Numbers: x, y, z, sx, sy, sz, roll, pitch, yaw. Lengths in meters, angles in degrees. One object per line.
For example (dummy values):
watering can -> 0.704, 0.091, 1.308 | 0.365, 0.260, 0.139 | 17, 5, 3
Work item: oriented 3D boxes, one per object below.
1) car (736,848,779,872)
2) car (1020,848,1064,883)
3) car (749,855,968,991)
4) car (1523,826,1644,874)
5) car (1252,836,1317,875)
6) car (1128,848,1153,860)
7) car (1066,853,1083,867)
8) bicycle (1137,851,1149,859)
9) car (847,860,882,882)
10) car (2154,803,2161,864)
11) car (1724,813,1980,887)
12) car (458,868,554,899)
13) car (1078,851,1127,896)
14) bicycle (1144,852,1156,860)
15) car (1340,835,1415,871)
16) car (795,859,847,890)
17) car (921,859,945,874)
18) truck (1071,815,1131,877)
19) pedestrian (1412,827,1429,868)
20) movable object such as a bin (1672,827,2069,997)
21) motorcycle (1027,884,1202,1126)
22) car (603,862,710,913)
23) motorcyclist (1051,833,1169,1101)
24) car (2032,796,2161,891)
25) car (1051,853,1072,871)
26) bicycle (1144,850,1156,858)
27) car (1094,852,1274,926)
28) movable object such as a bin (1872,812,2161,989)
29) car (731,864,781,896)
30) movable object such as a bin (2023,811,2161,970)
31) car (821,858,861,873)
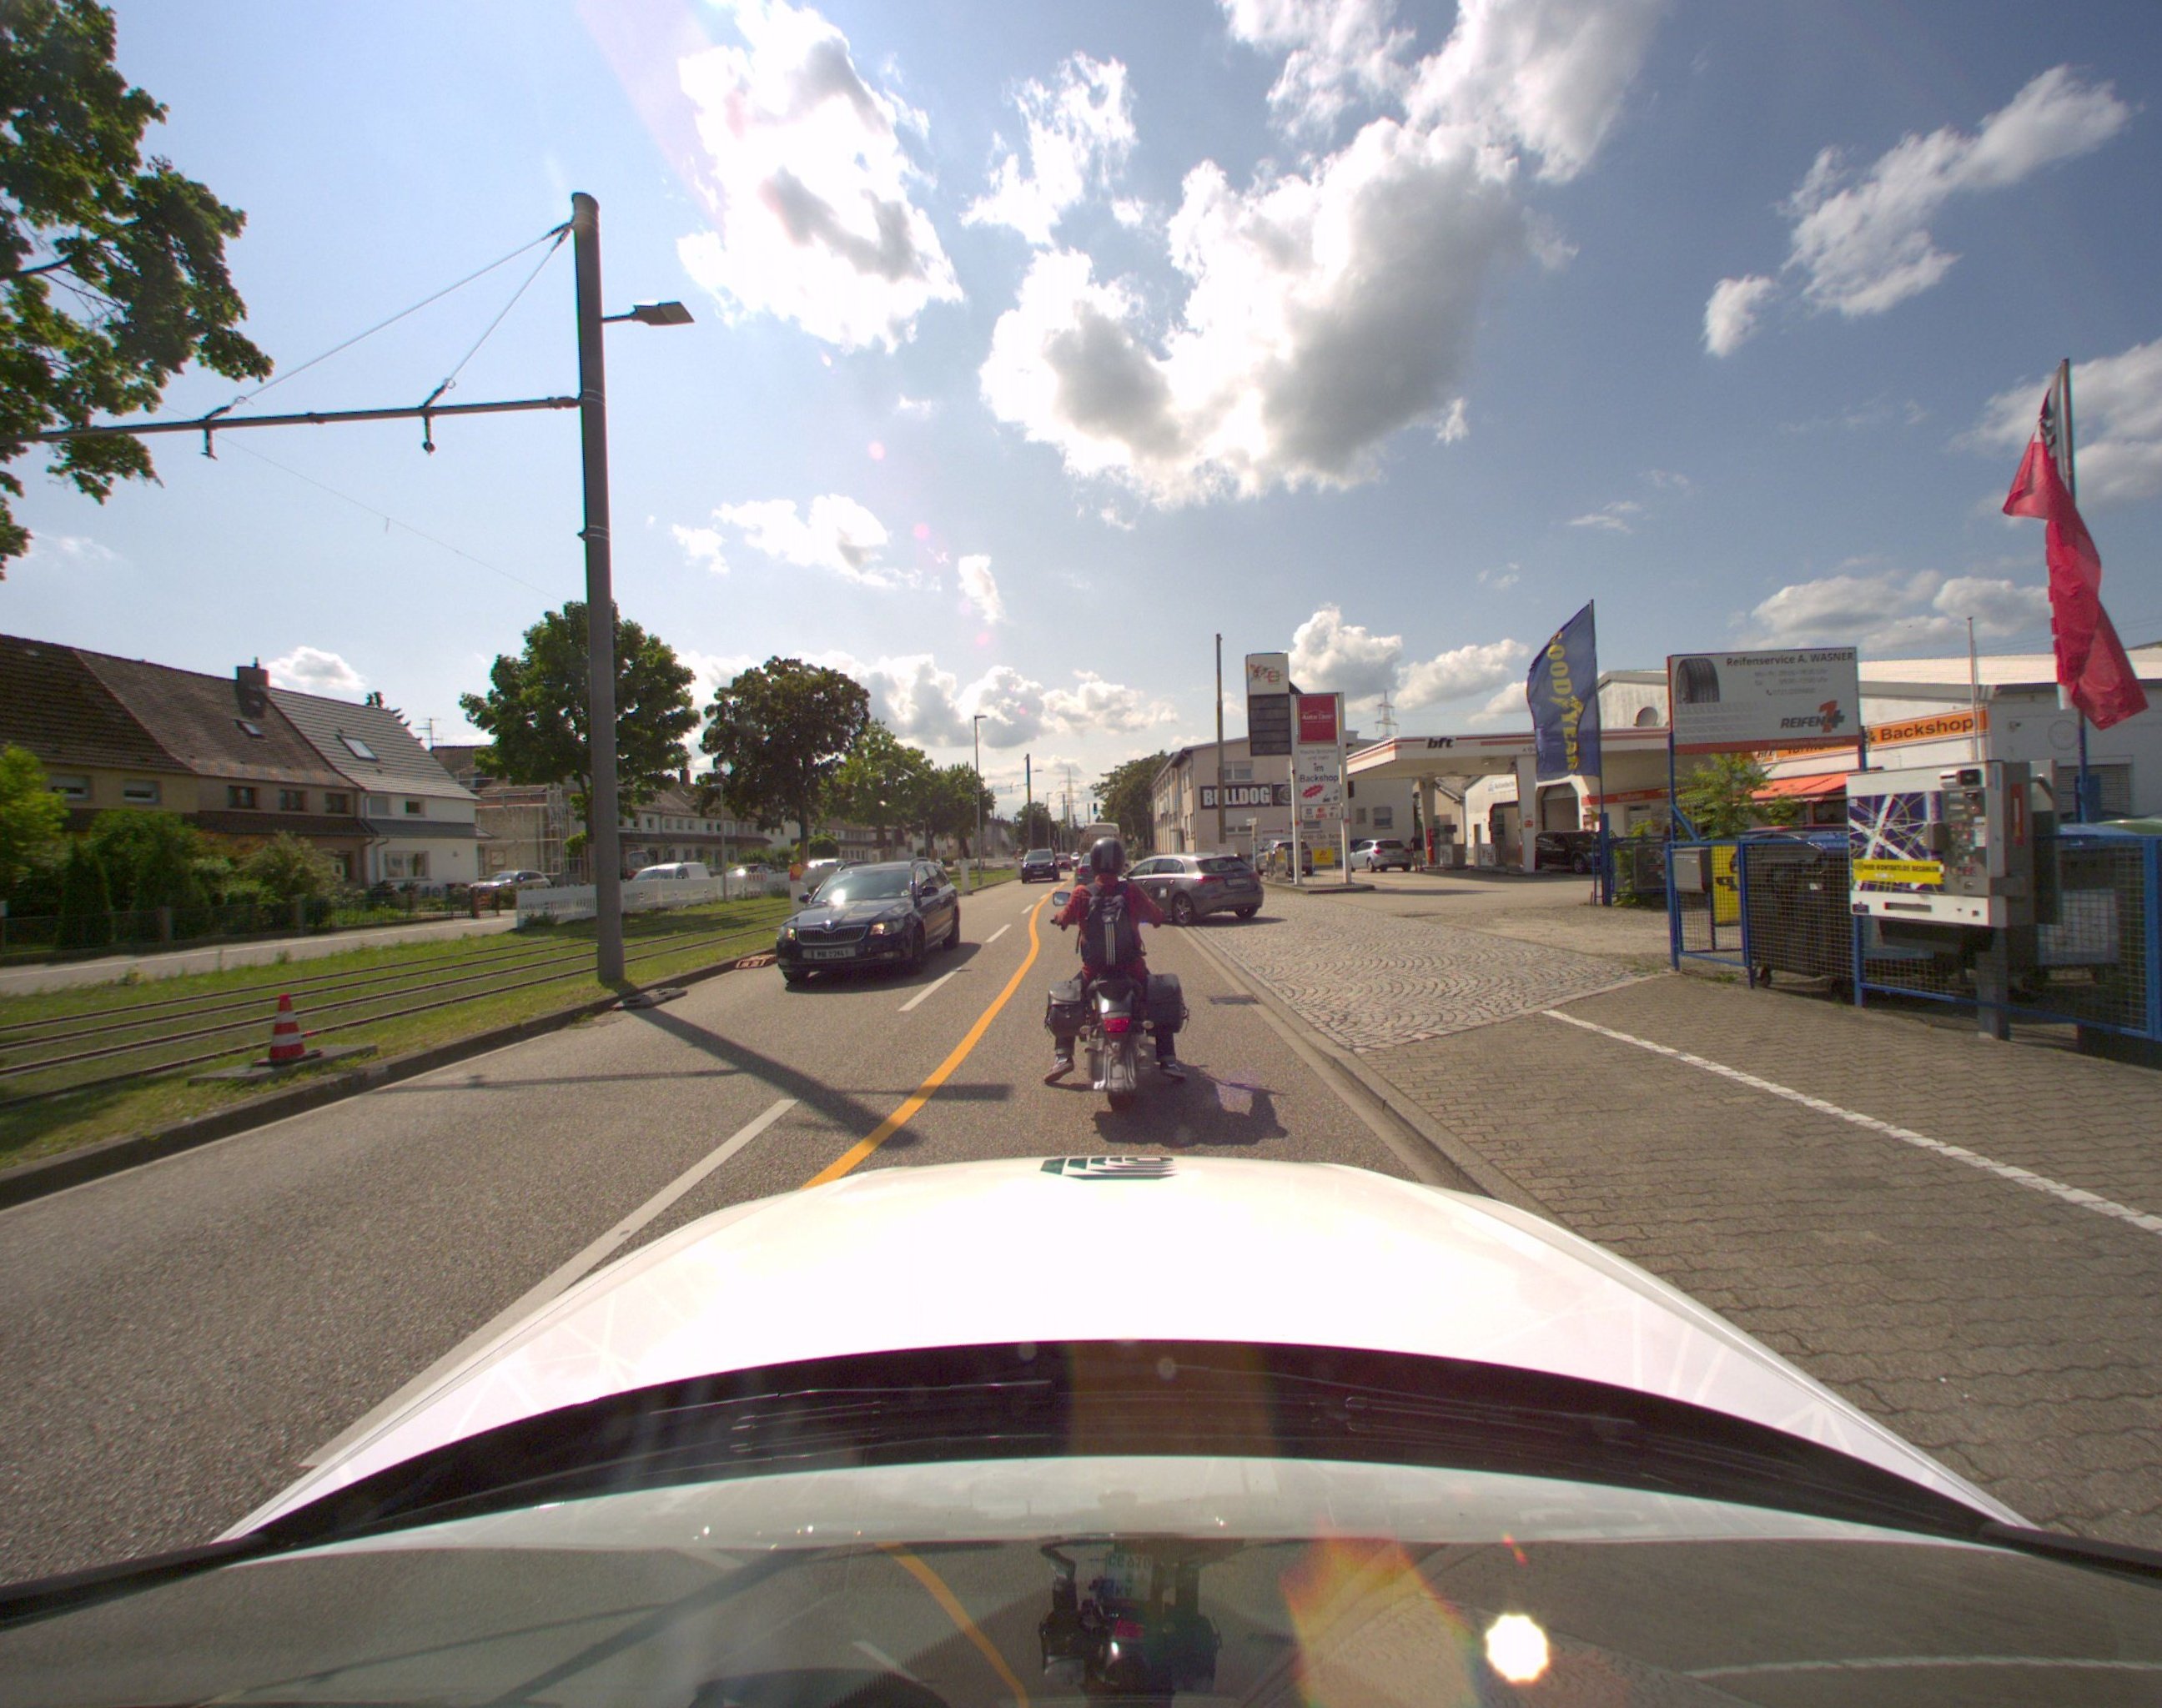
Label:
car -> -28.038, 0.532, 70.709 | 1.986, 2.014, 4.001 | 0, -1, 1
car -> -2.024, 0.598, 43.407 | 1.788, 1.690, 4.226 | -3, -1, 4
car -> -2.937, 0.810, 11.848 | 1.704, 1.486, 4.539 | -3, 0, 2
car -> 17.945, -0.200, 29.360 | 1.676, 1.519, 4.495 | -3, 1, 2
car -> 9.075, 0.073, 36.655 | 1.938, 1.625, 4.619 | -1, 0, 3
car -> 9.970, -0.039, 136.332 | 4.022, 1.926, 1.781 | 0, -1, -43
car -> -0.783, 0.712, 94.708 | 1.815, 1.445, 4.484 | -3, -1, 1
bicycle -> 8.946, 0.191, 117.711 | 1.699, 1.172, 0.439 | 0, -1, 6
car -> -14.733, 1.140, 55.552 | 1.345, 1.377, 3.115 | -3, -1, 2
car -> 26.641, -0.568, 18.029 | 3.569, 1.424, 1.529 | -3, -1, 2
car -> 17.701, -0.085, 18.859 | 4.118, 1.424, 1.772 | -3, -1, 2
car -> -27.369, 1.389, 38.912 | 1.528, 1.275, 4.122 | -3, -1, 2
car -> 0.815, 0.642, 28.846 | 1.637, 1.444, 3.751 | 0, 0, 3
bicycle -> 9.897, 0.327, 116.608 | 1.699, 1.172, 0.439 | 0, -1, 6
car -> 13.507, -0.005, 37.387 | 1.687, 1.471, 4.421 | -3, -1, -1
car -> -15.138, 1.185, 47.695 | 1.616, 1.651, 3.900 | -3, -1, 2
car -> -13.750, 1.114, 75.773 | 1.516, 1.354, 3.622 | 0, -1, 2
truck -> 1.285, -0.365, 45.953 | 2.954, 3.173, 7.773 | 0, -1, 4
pedestrian -> 14.730, -0.288, 35.359 | 0.495, 1.776, 0.577 | 0, -1, -1
movable object such as a bin -> 6.956, 0.472, 7.391 | 1.956, 1.347, 1.708 | 0, -1, 0
motorcycle -> 0.220, 0.858, 5.620 | 0.939, 1.200, 2.473 | 0, 0, 2
car -> -15.476, 1.166, 29.943 | 1.647, 1.625, 4.002 | -3, -1, 2
motorcyclist -> 0.184, 0.683, 5.255 | 0.695, 1.604, 0.692 | 0, -1, 1
car -> 18.068, -0.200, 12.760 | 4.029, 1.408, 1.651 | -1, 0, 8
car -> -1.621, 0.672, 68.158 | 1.572, 1.469, 3.721 | 0, -1, 2
bicycle -> 9.919, 0.029, 117.122 | 1.699, 1.172, 0.439 | 0, -1, 6
car -> 2.086, 0.652, 17.602 | 1.743, 1.403, 4.046 | 0, 0, -31
movable object such as a bin -> 8.807, 0.378, 7.395 | 1.526, 1.410, 1.765 | 0, -1, 1
car -> -15.054, 1.184, 37.833 | 1.067, 1.348, 2.452 | -3, -1, 5
movable object such as a bin -> 10.341, 0.324, 7.397 | 1.526, 1.410, 1.765 | 0, -1, 1
car -> -27.046, 1.292, 91.778 | 3.973, 1.509, 1.726 | -3, 0, 0
